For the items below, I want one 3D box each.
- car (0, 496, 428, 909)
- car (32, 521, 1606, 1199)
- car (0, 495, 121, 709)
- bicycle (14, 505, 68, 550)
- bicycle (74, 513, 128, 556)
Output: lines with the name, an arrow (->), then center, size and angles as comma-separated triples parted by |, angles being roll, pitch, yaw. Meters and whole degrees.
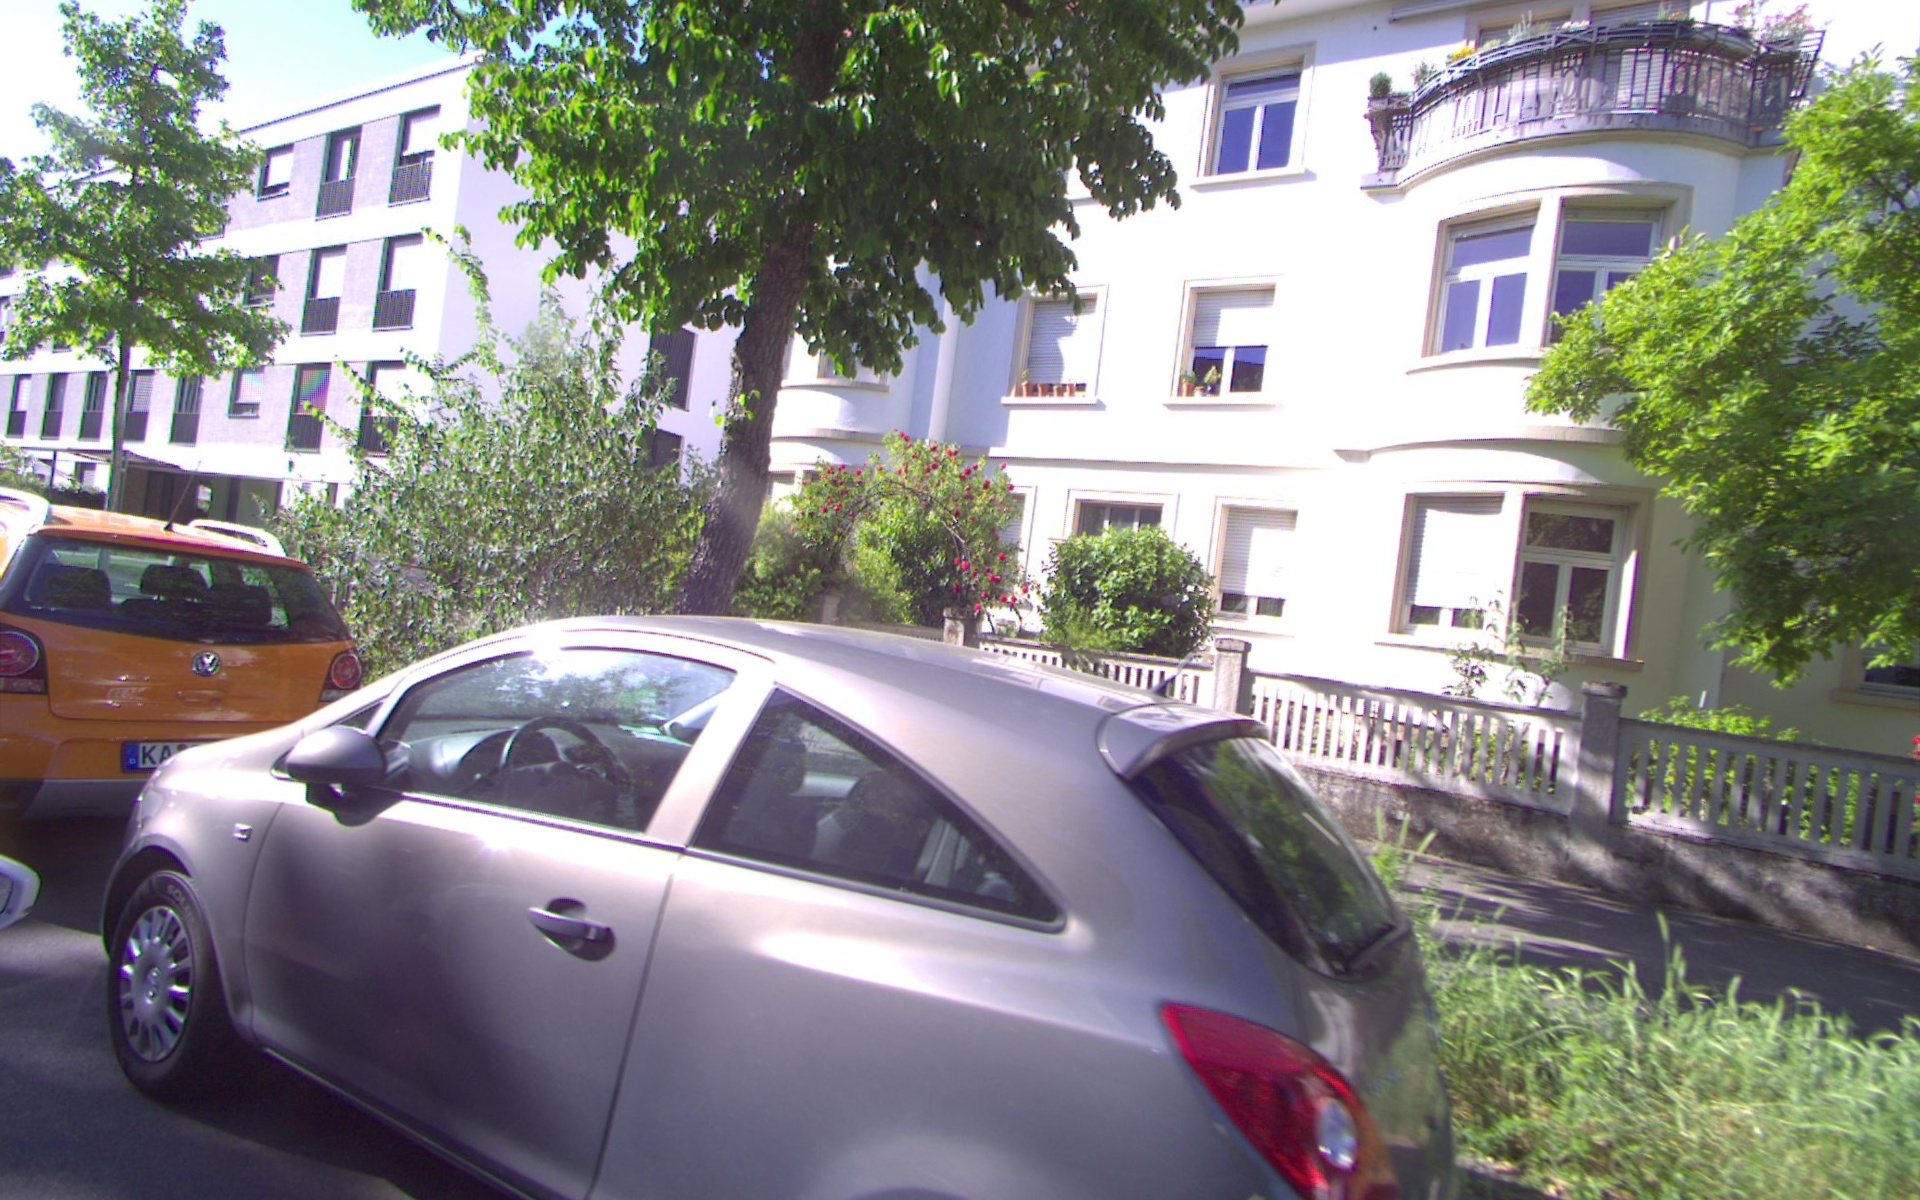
car -> -4.792, 0.233, 5.216 | 4.031, 1.472, 1.639 | 7, -1, 31
car -> -0.564, 0.750, 2.639 | 3.550, 1.445, 1.652 | 7, 0, 29
car -> -8.445, -0.197, 7.810 | 4.014, 1.466, 1.703 | 7, 0, 32
bicycle -> -25.845, -2.043, 28.296 | 1.662, 1.068, 0.547 | 7, 0, 29
bicycle -> -25.187, -1.929, 29.488 | 1.749, 1.068, 0.547 | 7, 0, 29
